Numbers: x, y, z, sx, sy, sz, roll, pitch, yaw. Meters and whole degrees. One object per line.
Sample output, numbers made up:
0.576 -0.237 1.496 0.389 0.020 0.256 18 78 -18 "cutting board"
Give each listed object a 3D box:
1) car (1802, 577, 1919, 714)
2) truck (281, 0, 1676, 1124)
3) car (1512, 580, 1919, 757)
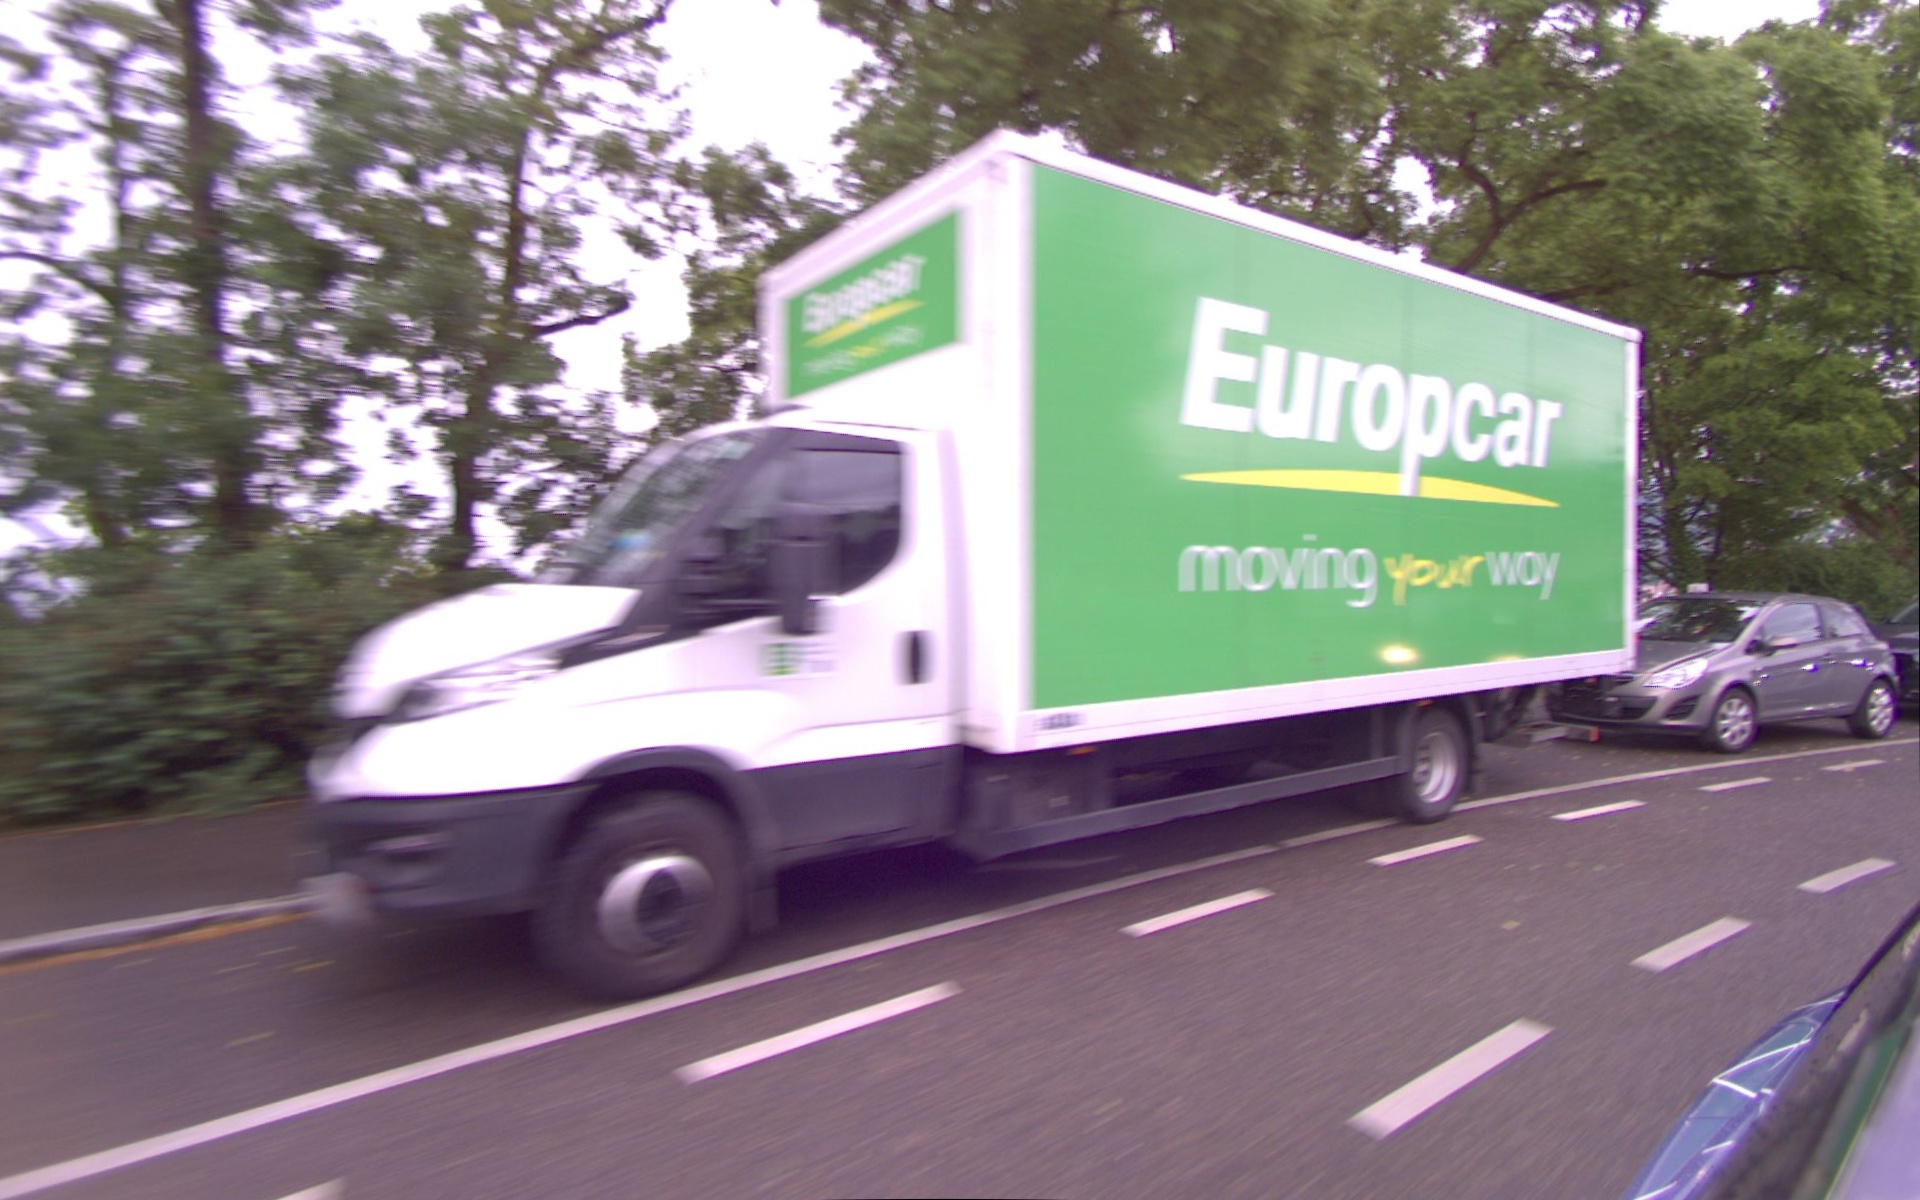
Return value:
13.114 0.529 12.425 4.791 1.562 1.870 1 1 -16 "car"
1.050 -0.419 6.346 8.764 3.513 2.783 0 2 -35 "truck"
7.928 0.595 10.452 4.049 1.522 1.743 0 1 -23 "car"
